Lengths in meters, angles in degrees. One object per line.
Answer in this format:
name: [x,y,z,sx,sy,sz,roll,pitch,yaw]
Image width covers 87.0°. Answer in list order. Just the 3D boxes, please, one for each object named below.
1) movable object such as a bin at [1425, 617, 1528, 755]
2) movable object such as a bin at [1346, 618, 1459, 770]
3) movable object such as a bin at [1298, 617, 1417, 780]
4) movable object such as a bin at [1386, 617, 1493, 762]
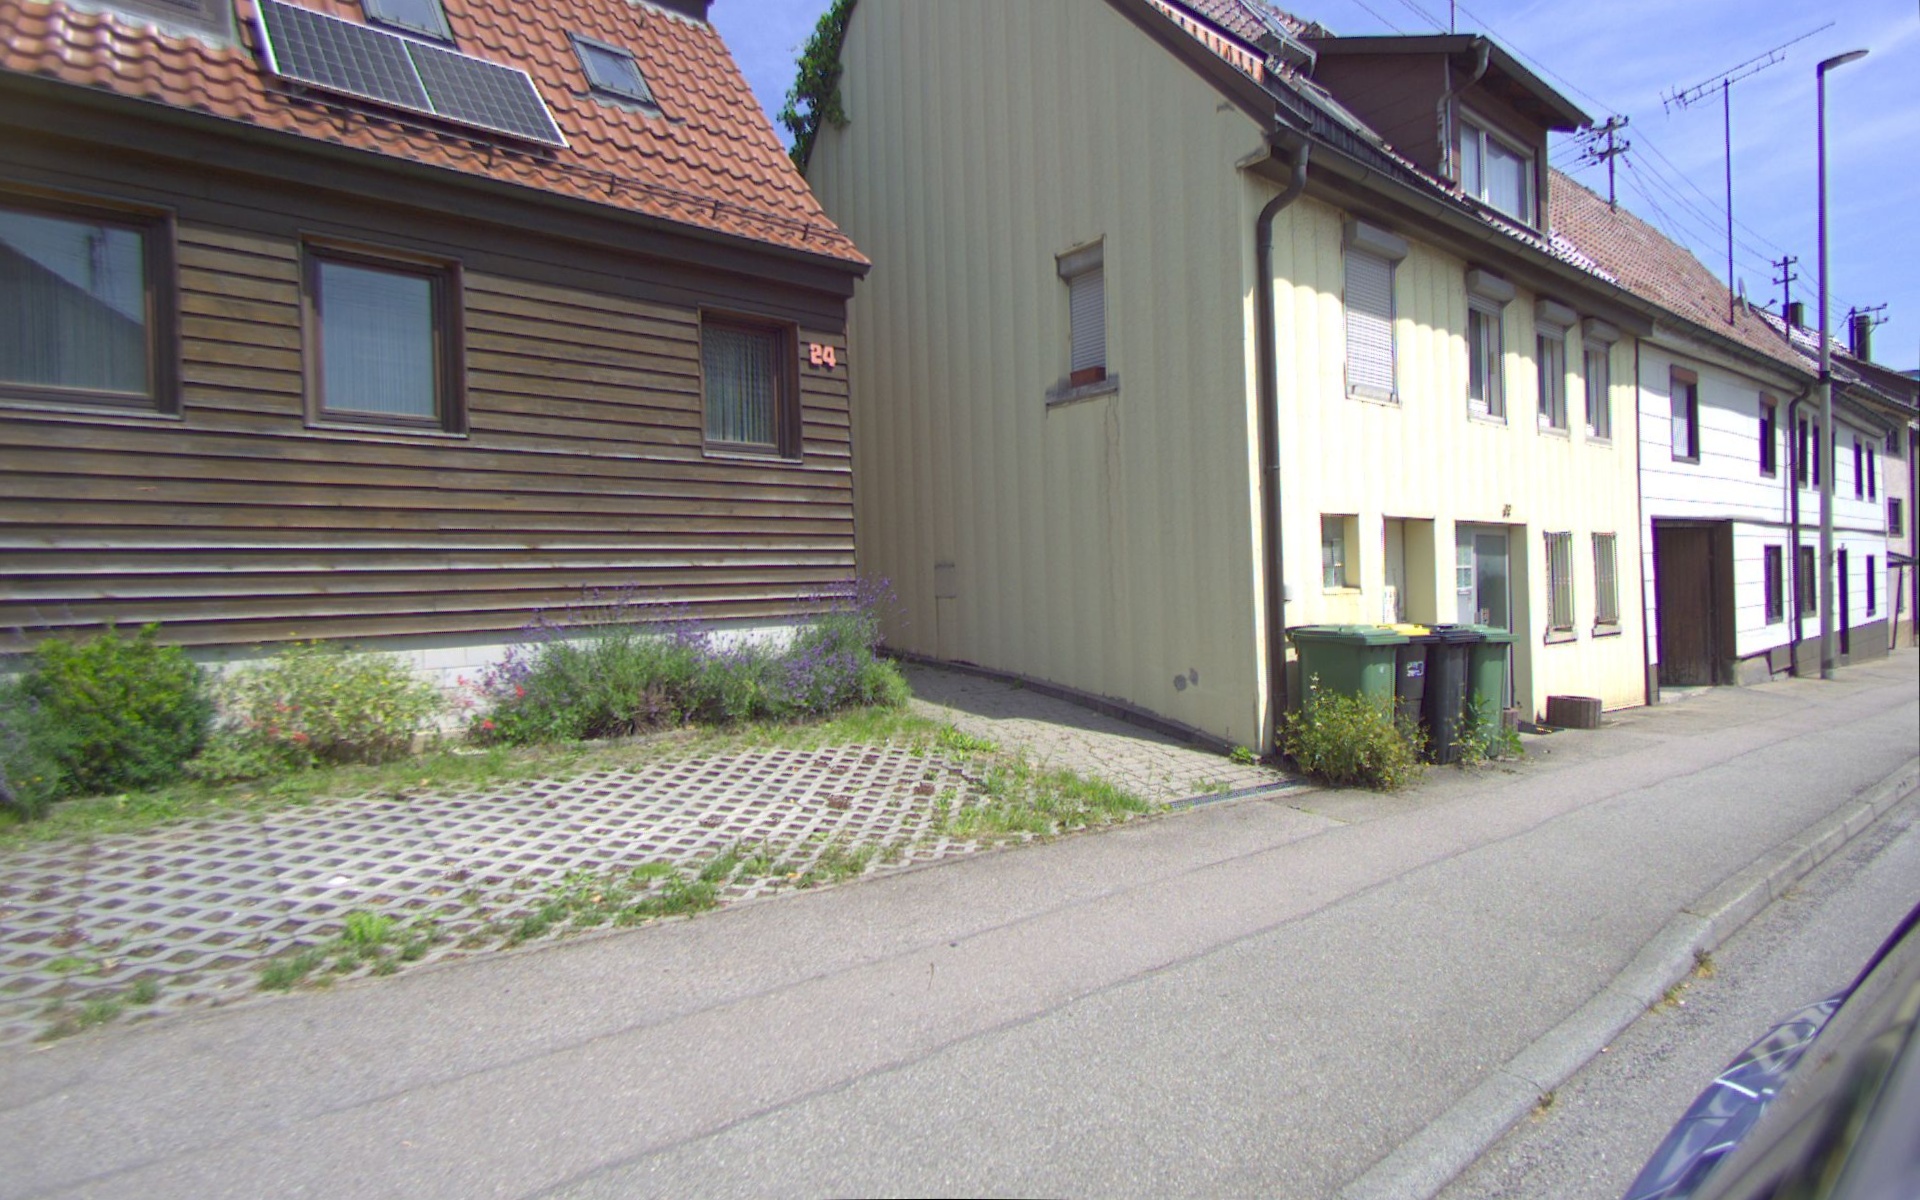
movable object such as a bin: [4.245,0.680,8.327,0.541,1.046,0.548,1,2,-39]
movable object such as a bin: [3.306,0.675,7.567,0.541,1.046,0.548,1,2,-39]
movable object such as a bin: [2.792,0.663,7.114,0.541,1.046,0.548,1,2,-39]
movable object such as a bin: [3.768,0.676,7.954,0.541,1.046,0.548,1,2,-39]
